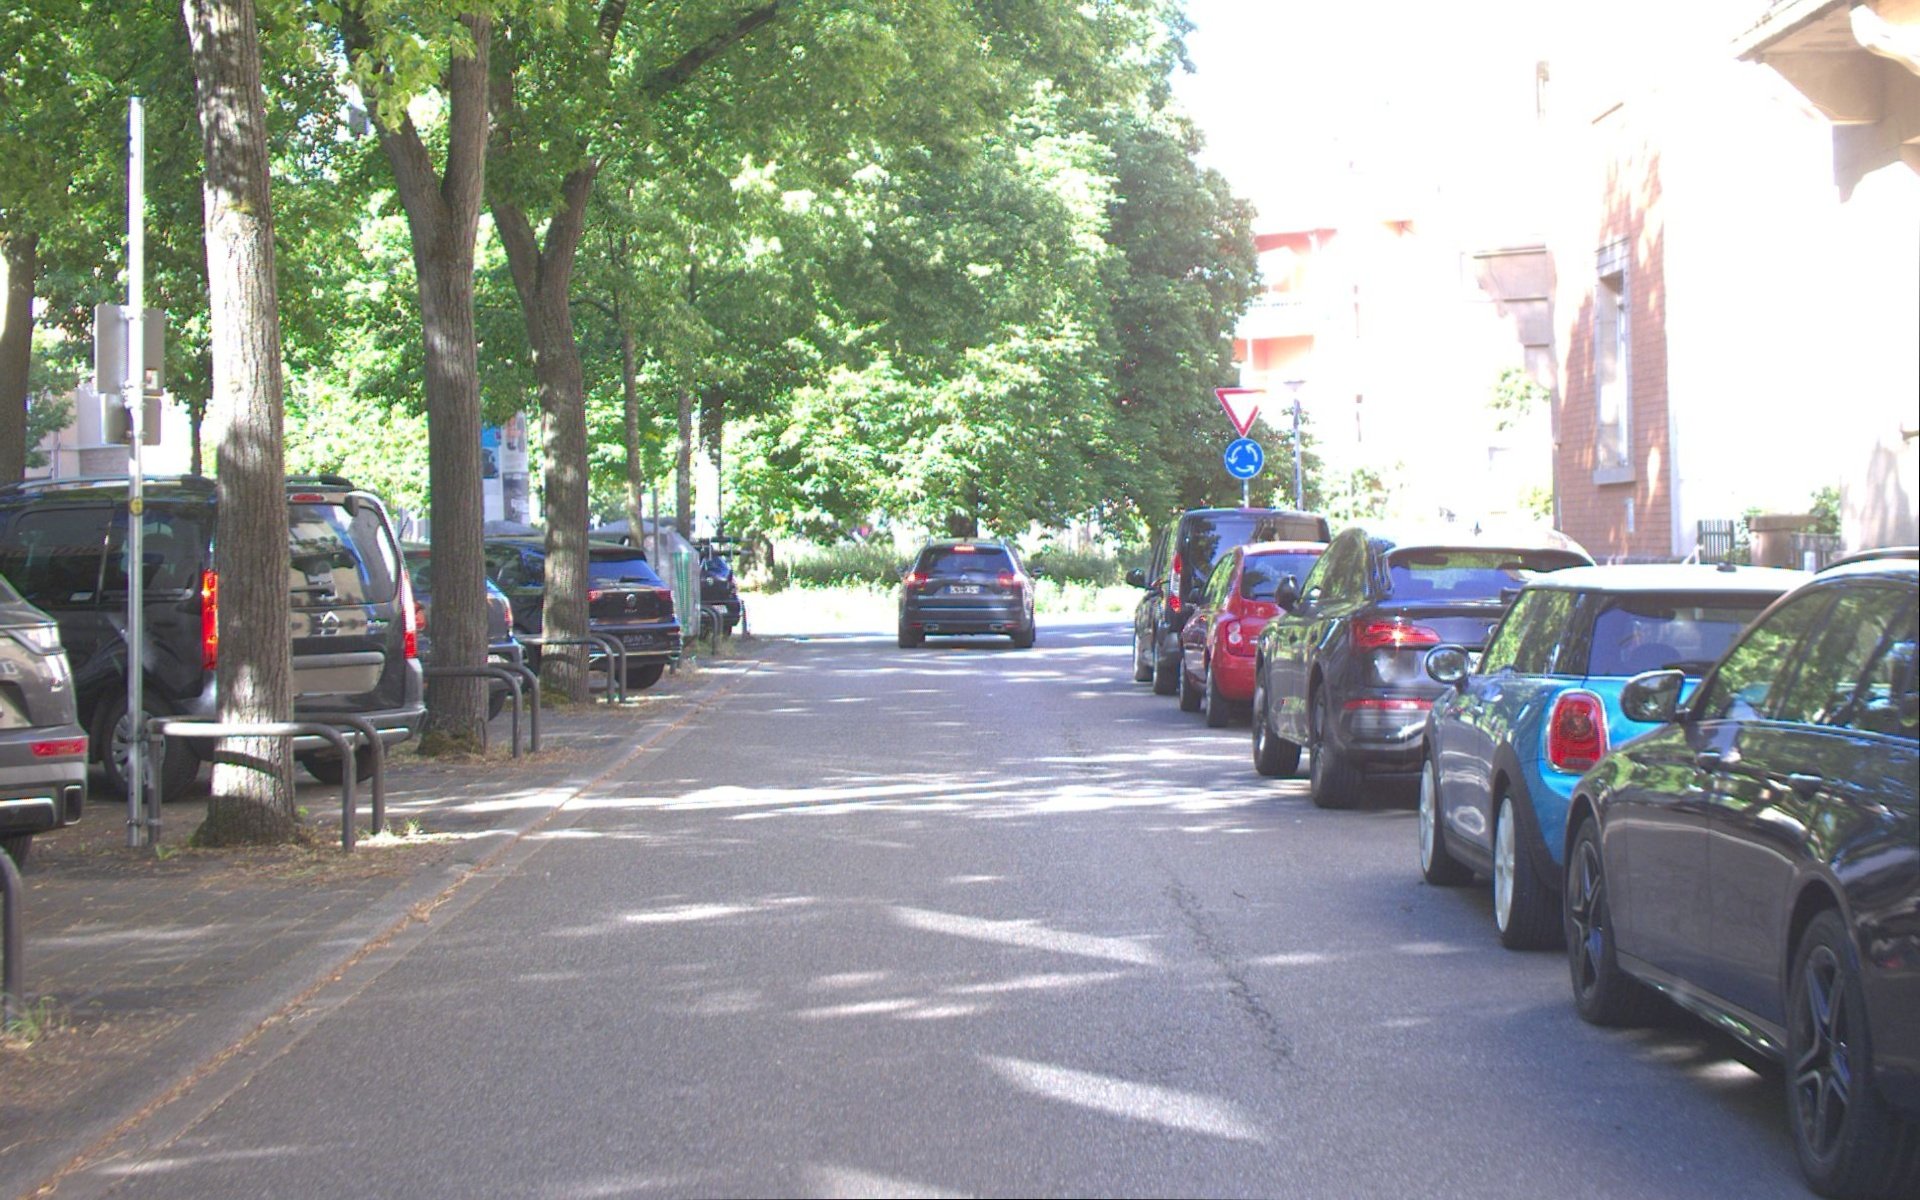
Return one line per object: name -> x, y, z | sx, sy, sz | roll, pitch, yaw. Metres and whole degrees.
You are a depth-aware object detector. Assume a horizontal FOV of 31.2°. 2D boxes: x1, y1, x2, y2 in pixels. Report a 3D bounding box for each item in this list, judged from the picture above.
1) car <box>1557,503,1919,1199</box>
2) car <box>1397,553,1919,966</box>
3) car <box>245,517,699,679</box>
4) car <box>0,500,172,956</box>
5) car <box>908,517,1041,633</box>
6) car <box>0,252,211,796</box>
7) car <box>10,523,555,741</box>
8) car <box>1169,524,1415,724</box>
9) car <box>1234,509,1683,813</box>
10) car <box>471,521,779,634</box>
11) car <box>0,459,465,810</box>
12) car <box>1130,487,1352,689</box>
car -> 2.801, 0.546, 8.836 | 1.805, 1.558, 4.321 | -2, 2, 1
car -> 2.786, 0.541, 14.007 | 1.590, 1.410, 3.632 | 0, 2, 1
car -> -4.492, -0.030, 32.135 | 4.088, 1.461, 1.867 | 0, 1, -4
car -> -5.279, 0.424, 13.400 | 4.269, 1.636, 1.653 | 1, 2, 28
car -> 0.176, -0.379, 47.150 | 1.714, 1.478, 4.145 | -1, 1, 0
car -> -7.323, -0.147, 17.907 | 6.069, 2.614, 2.453 | -5, -1, 16
car -> -5.162, 0.232, 26.363 | 3.728, 1.576, 1.635 | -1, 1, 12
car -> 2.782, 0.150, 29.558 | 1.645, 1.532, 4.000 | 2, 2, -1
car -> 2.885, 0.272, 20.882 | 1.864, 1.638, 4.492 | 0, 2, -3
car -> -4.594, -0.305, 46.837 | 4.138, 1.476, 1.772 | 0, 1, 40
car -> -4.974, 0.154, 20.274 | 3.846, 1.882, 1.840 | 0, 2, 36
car -> 2.777, -0.177, 34.818 | 1.801, 1.864, 4.273 | 2, 2, -1
